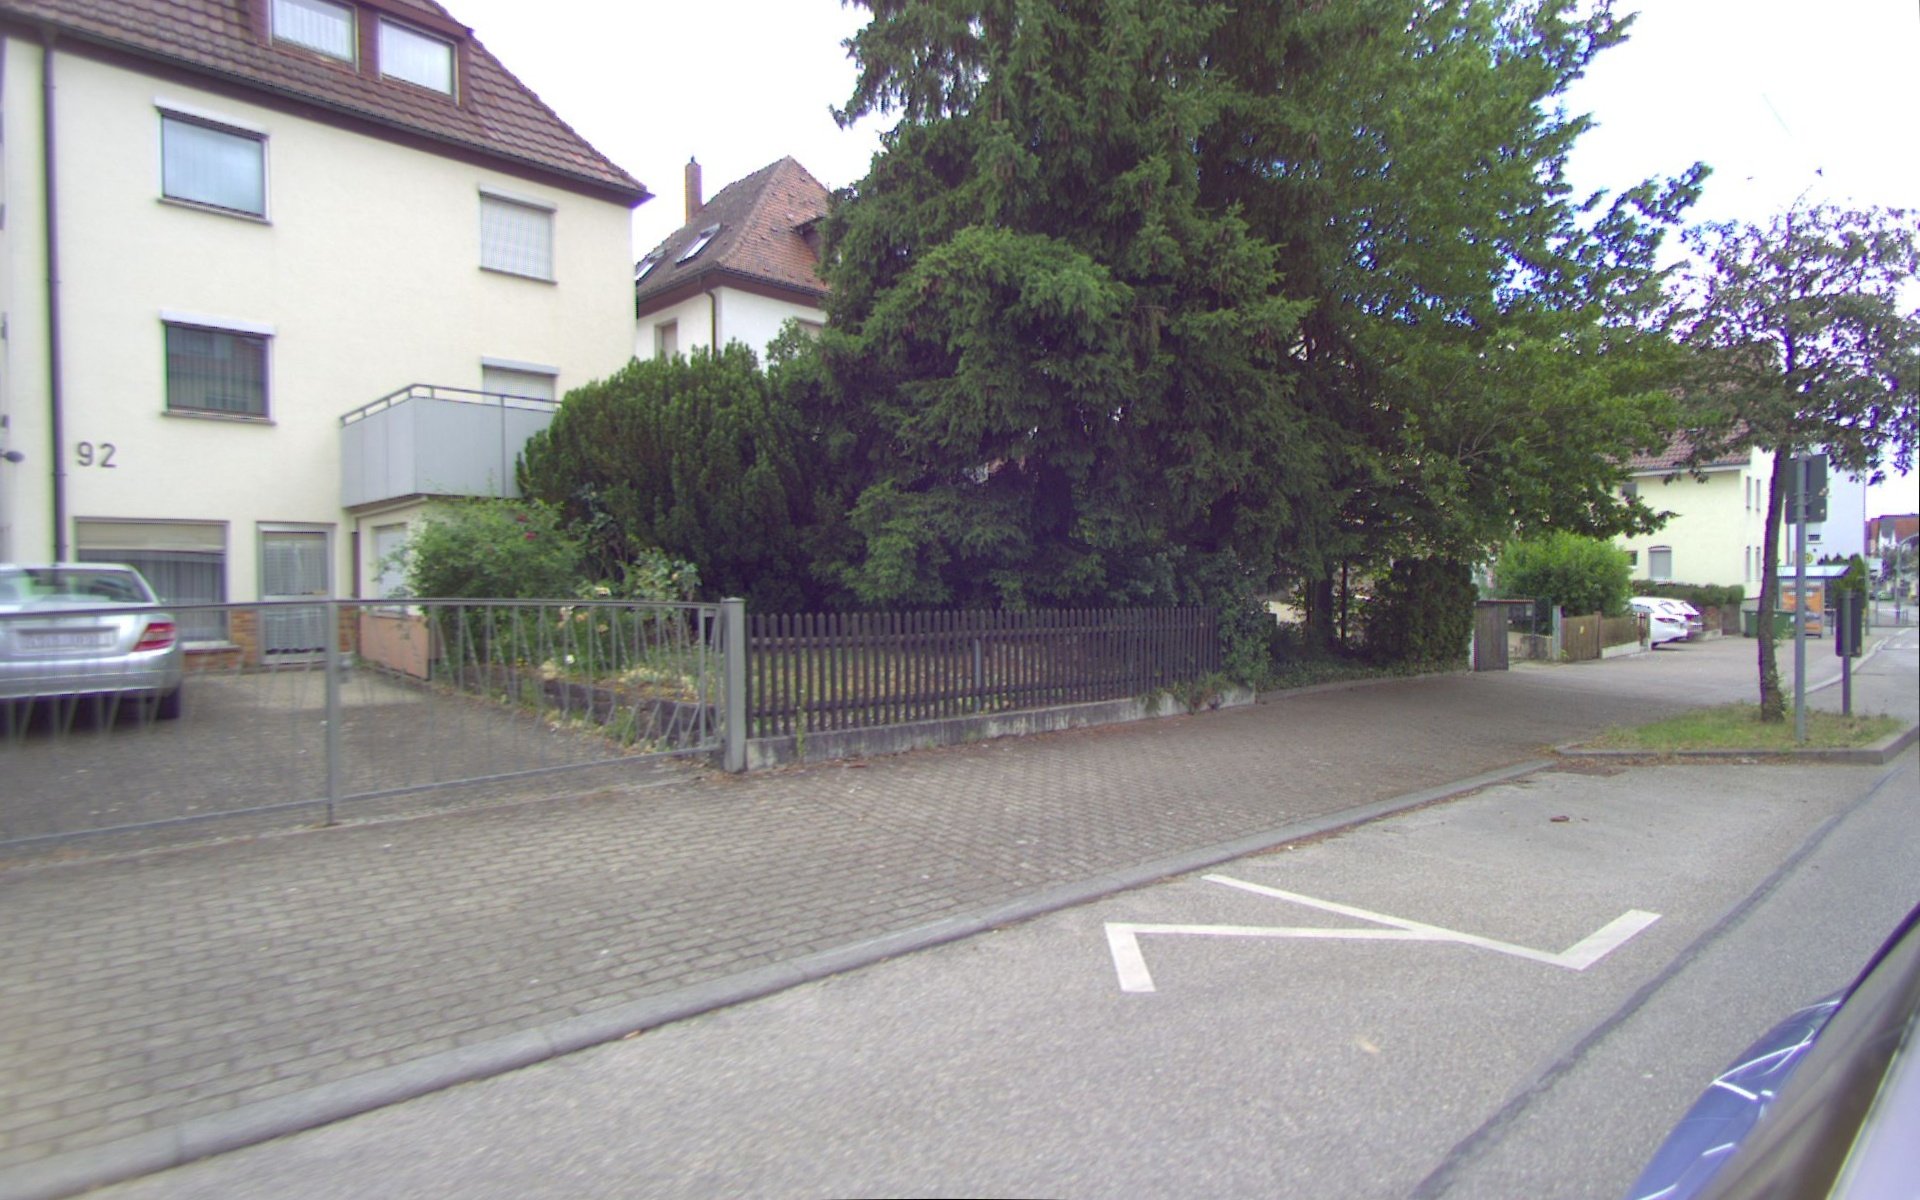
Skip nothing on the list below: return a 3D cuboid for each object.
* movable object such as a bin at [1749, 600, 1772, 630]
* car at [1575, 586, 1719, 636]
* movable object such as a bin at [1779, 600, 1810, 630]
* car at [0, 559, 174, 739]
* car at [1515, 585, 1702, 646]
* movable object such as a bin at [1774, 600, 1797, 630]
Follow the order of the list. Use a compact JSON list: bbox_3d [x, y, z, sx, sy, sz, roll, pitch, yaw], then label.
[{"bbox_3d":[29.637,0.554,37.482,0.635,1.059,0.577,1,2,41],"label":"movable object such as a bin"},{"bbox_3d":[23.242,0.327,34.314,3.804,1.418,1.615,4,4,44],"label":"car"},{"bbox_3d":[30.826,0.554,37.378,0.579,1.059,0.639,-1,0,-17],"label":"movable object such as a bin"},{"bbox_3d":[-8.615,0.321,9.573,1.617,1.410,3.994,-1,2,-41],"label":"car"},{"bbox_3d":[19.513,0.413,30.597,1.833,1.506,4.428,-2,4,-42],"label":"car"},{"bbox_3d":[30.178,0.554,36.989,0.635,1.059,0.577,-1,0,41],"label":"movable object such as a bin"}]
